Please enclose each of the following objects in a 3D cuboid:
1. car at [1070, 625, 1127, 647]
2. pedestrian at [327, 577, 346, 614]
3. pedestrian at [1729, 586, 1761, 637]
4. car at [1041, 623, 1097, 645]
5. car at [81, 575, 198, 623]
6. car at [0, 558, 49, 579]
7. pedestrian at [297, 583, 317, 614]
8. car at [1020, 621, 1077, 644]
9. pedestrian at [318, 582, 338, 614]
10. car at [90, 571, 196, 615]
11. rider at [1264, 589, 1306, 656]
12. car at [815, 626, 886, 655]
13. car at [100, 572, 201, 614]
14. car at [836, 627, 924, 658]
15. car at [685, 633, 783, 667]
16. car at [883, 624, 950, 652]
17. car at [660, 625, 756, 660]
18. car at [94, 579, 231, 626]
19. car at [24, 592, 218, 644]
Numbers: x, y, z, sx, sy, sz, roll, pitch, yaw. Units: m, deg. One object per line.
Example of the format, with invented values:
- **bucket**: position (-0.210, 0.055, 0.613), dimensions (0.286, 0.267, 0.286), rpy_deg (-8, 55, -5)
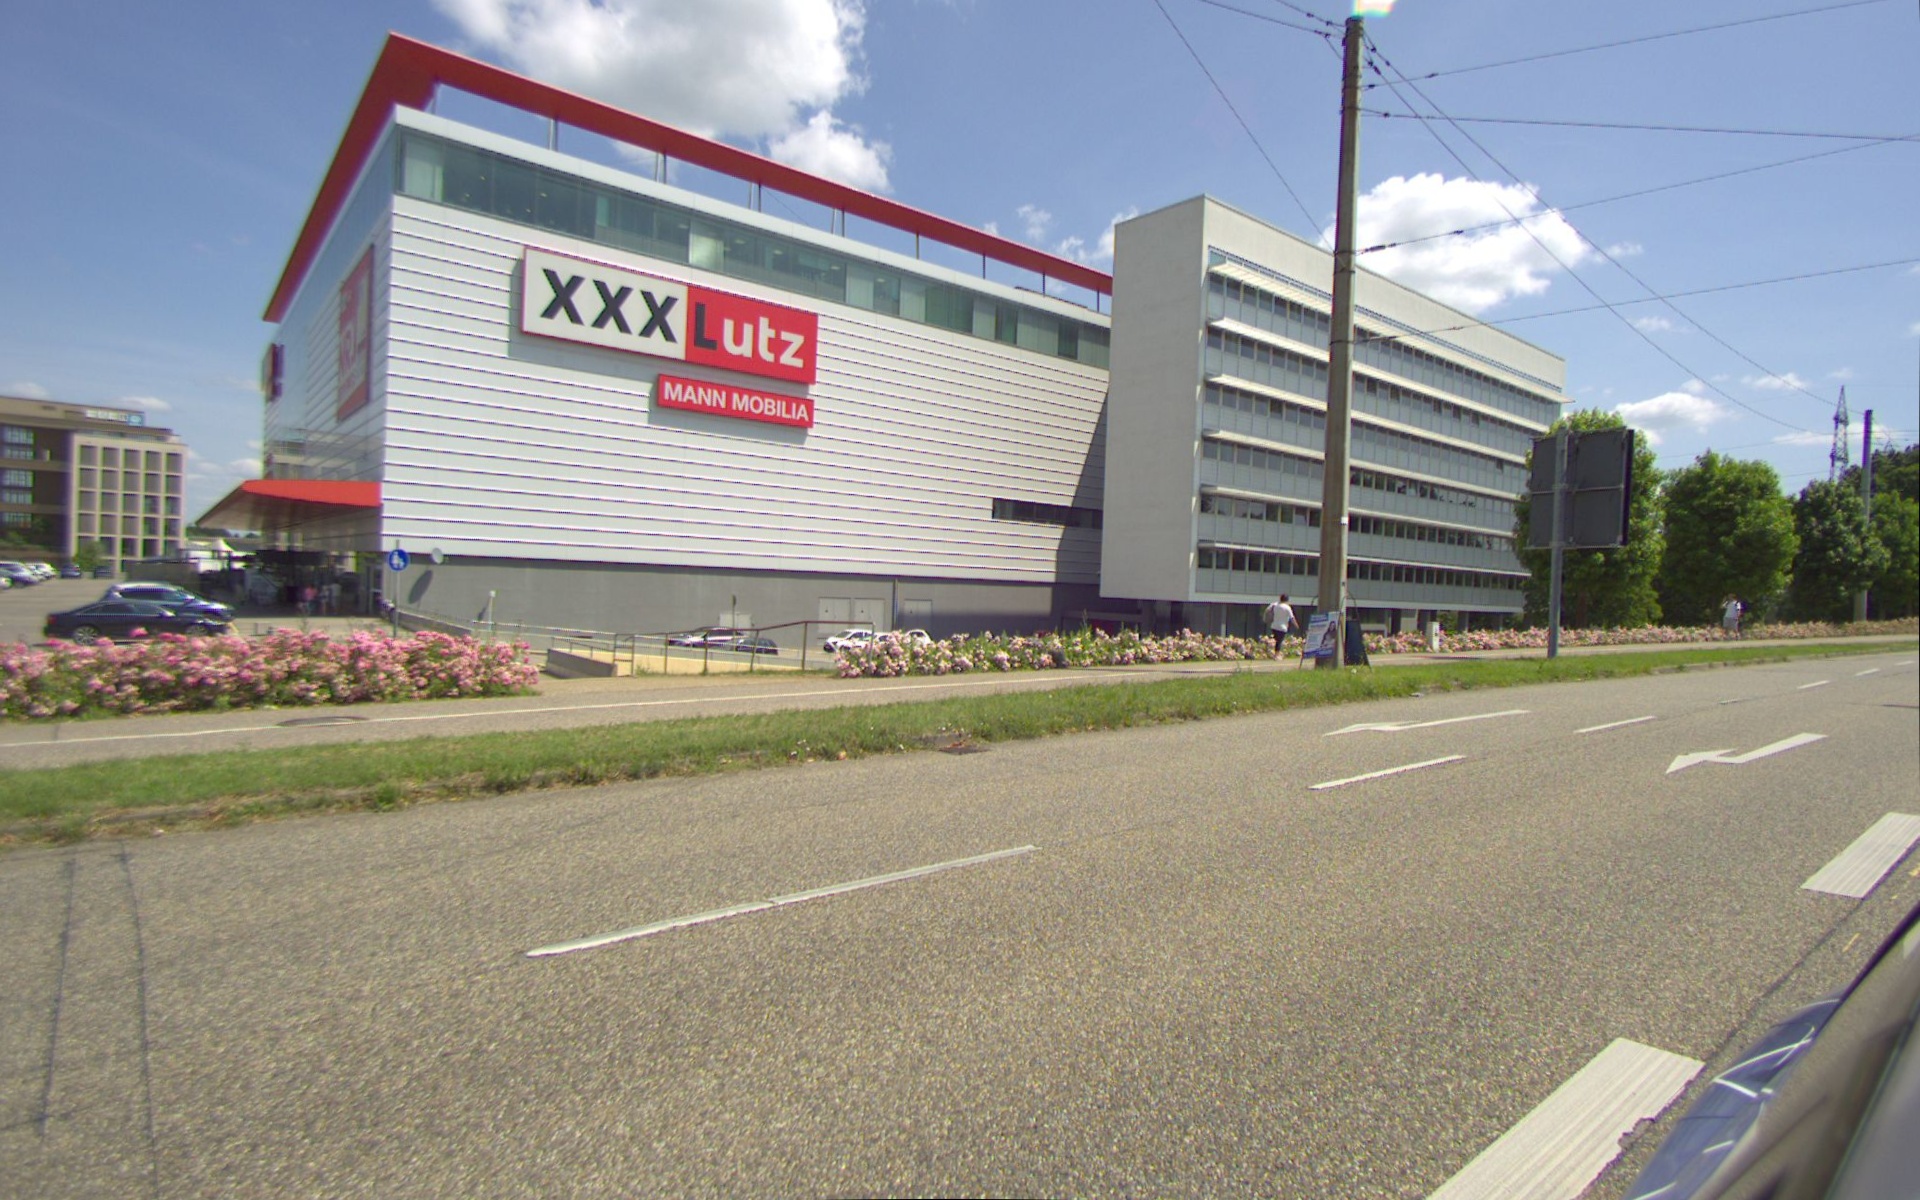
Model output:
- **car**: position (9.396, 2.395, 68.536), dimensions (3.930, 1.338, 1.607), rpy_deg (0, 0, -41)
- **pedestrian**: position (-32.079, -0.220, 52.052), dimensions (0.723, 1.893, 0.741), rpy_deg (1, 0, -42)
- **pedestrian**: position (29.636, 0.426, 38.202), dimensions (0.913, 1.872, 0.758), rpy_deg (0, 0, -38)
- **car**: position (7.616, 2.362, 70.538), dimensions (3.930, 1.403, 1.646), rpy_deg (0, 0, -41)
- **car**: position (-36.195, -0.076, 44.711), dimensions (3.930, 2.039, 1.997), rpy_deg (0, 1, -41)
- **car**: position (-80.465, -2.672, 85.641), dimensions (4.912, 1.631, 1.997), rpy_deg (0, 0, -41)
- **pedestrian**: position (-33.009, -0.084, 51.136), dimensions (0.723, 1.577, 0.741), rpy_deg (1, 0, -42)
- **car**: position (6.377, 2.294, 72.744), dimensions (3.930, 1.465, 1.997), rpy_deg (0, 0, -41)
- **pedestrian**: position (-31.832, -0.089, 50.974), dimensions (0.723, 1.577, 0.741), rpy_deg (1, 0, -42)
- **car**: position (-39.523, -0.341, 49.025), dimensions (3.930, 2.039, 1.997), rpy_deg (0, 0, -41)
- **rider**: position (7.285, 0.497, 22.706), dimensions (0.607, 1.476, 0.670), rpy_deg (0, 0, -41)
- **car**: position (-6.692, 2.458, 62.130), dimensions (3.930, 1.632, 1.997), rpy_deg (0, 0, -41)
- **car**: position (-40.953, -0.343, 51.256), dimensions (3.930, 2.039, 1.997), rpy_deg (0, 1, -41)
- **car**: position (-4.742, 2.506, 60.242), dimensions (5.056, 1.632, 1.997), rpy_deg (0, 0, -41)
- **car**: position (-10.956, 2.406, 49.223), dimensions (4.278, 1.416, 1.996), rpy_deg (0, 0, -42)
- **car**: position (-2.796, 2.445, 65.448), dimensions (3.930, 1.632, 1.997), rpy_deg (0, 0, -41)
- **car**: position (-13.244, 2.209, 53.322), dimensions (4.509, 1.632, 1.997), rpy_deg (0, 0, -41)
- **car**: position (-32.227, 0.111, 40.954), dimensions (4.256, 1.804, 1.997), rpy_deg (0, -1, -41)
- **car**: position (-28.140, 0.566, 34.112), dimensions (4.912, 1.631, 1.997), rpy_deg (0, 0, -41)
